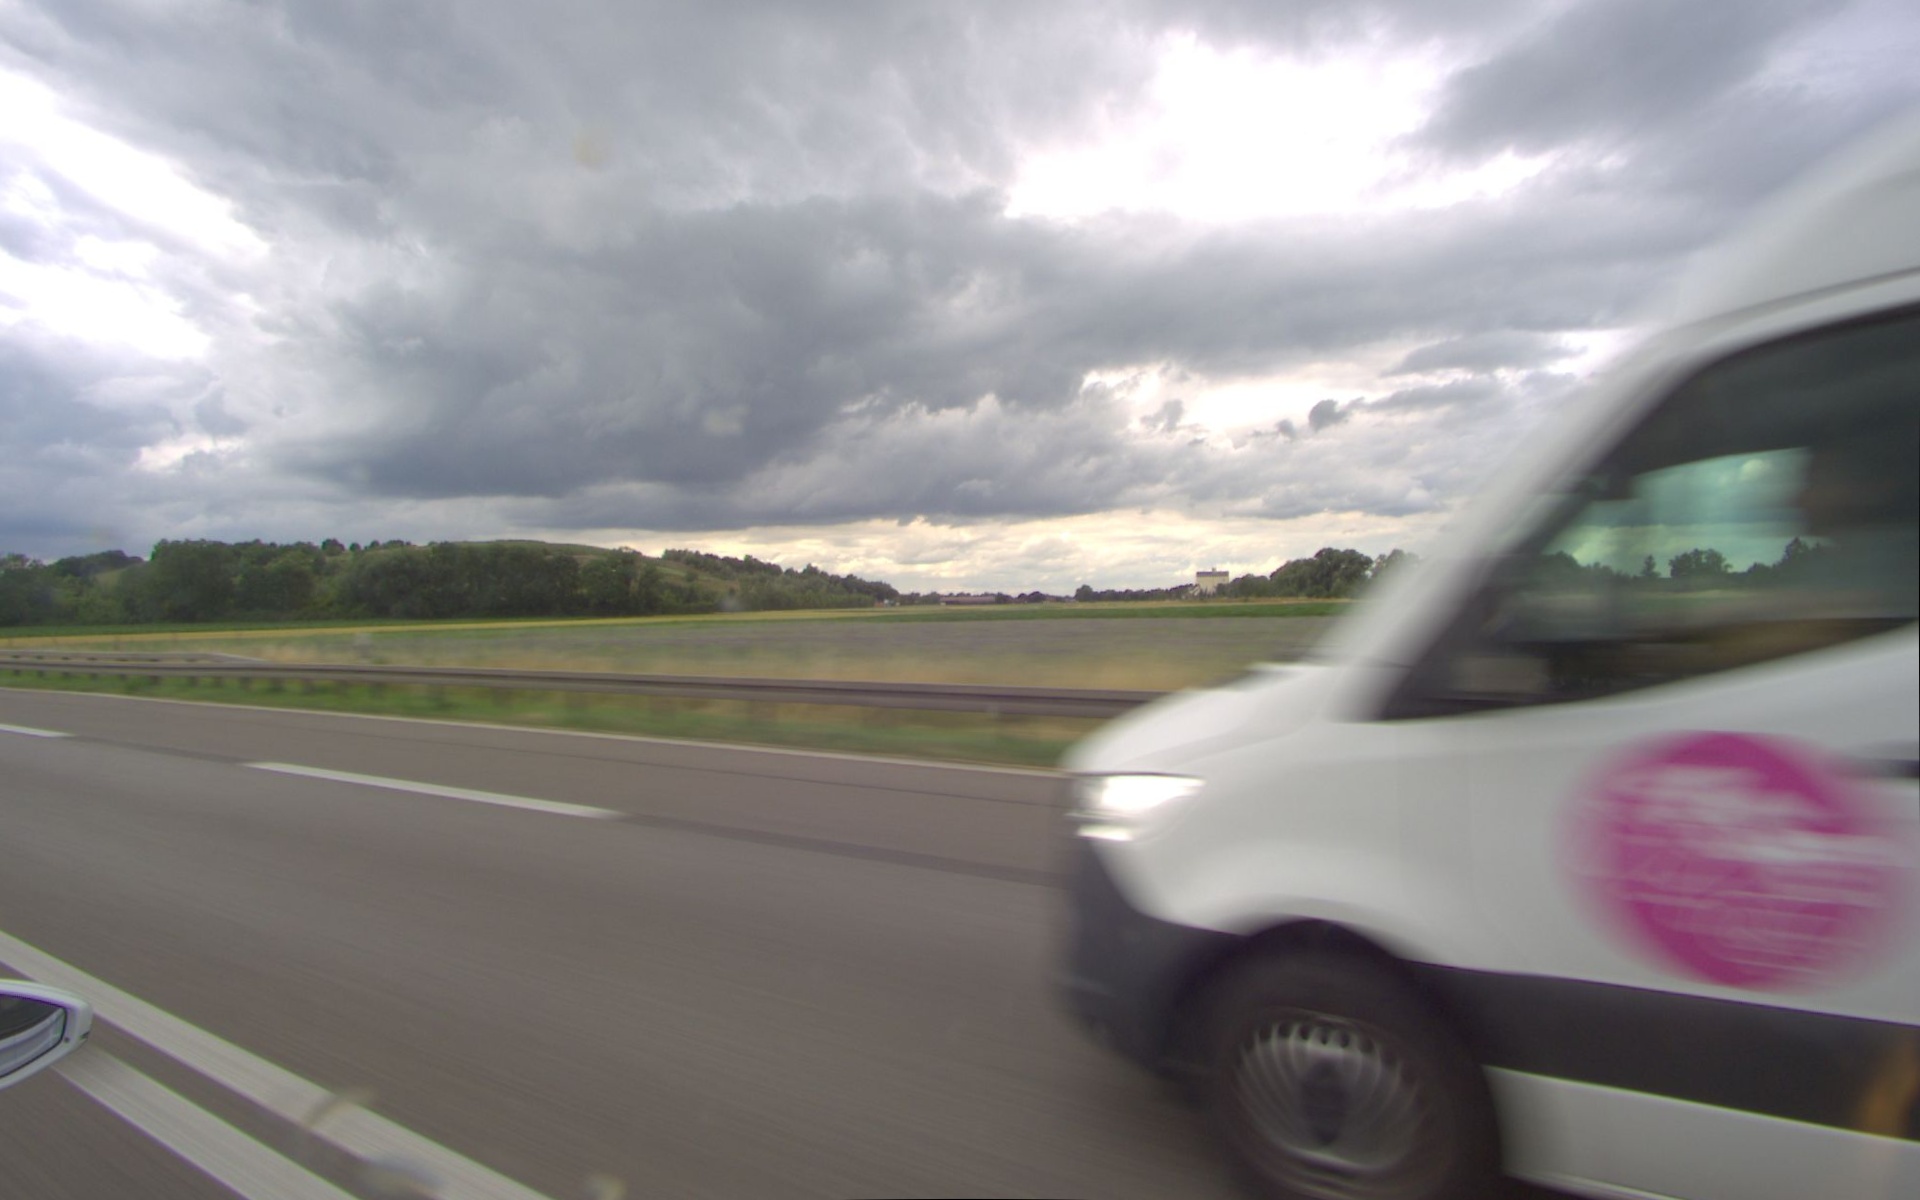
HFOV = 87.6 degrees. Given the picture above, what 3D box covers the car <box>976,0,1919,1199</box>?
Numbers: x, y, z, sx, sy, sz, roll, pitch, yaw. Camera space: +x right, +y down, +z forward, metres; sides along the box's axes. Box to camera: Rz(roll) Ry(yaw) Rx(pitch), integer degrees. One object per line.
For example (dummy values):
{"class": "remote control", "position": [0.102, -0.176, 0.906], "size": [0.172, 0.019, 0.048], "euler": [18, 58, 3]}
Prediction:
{"class": "car", "position": [3.216, 0.198, 1.849], "size": [6.167, 2.601, 2.216], "euler": [-1, 0, 33]}
